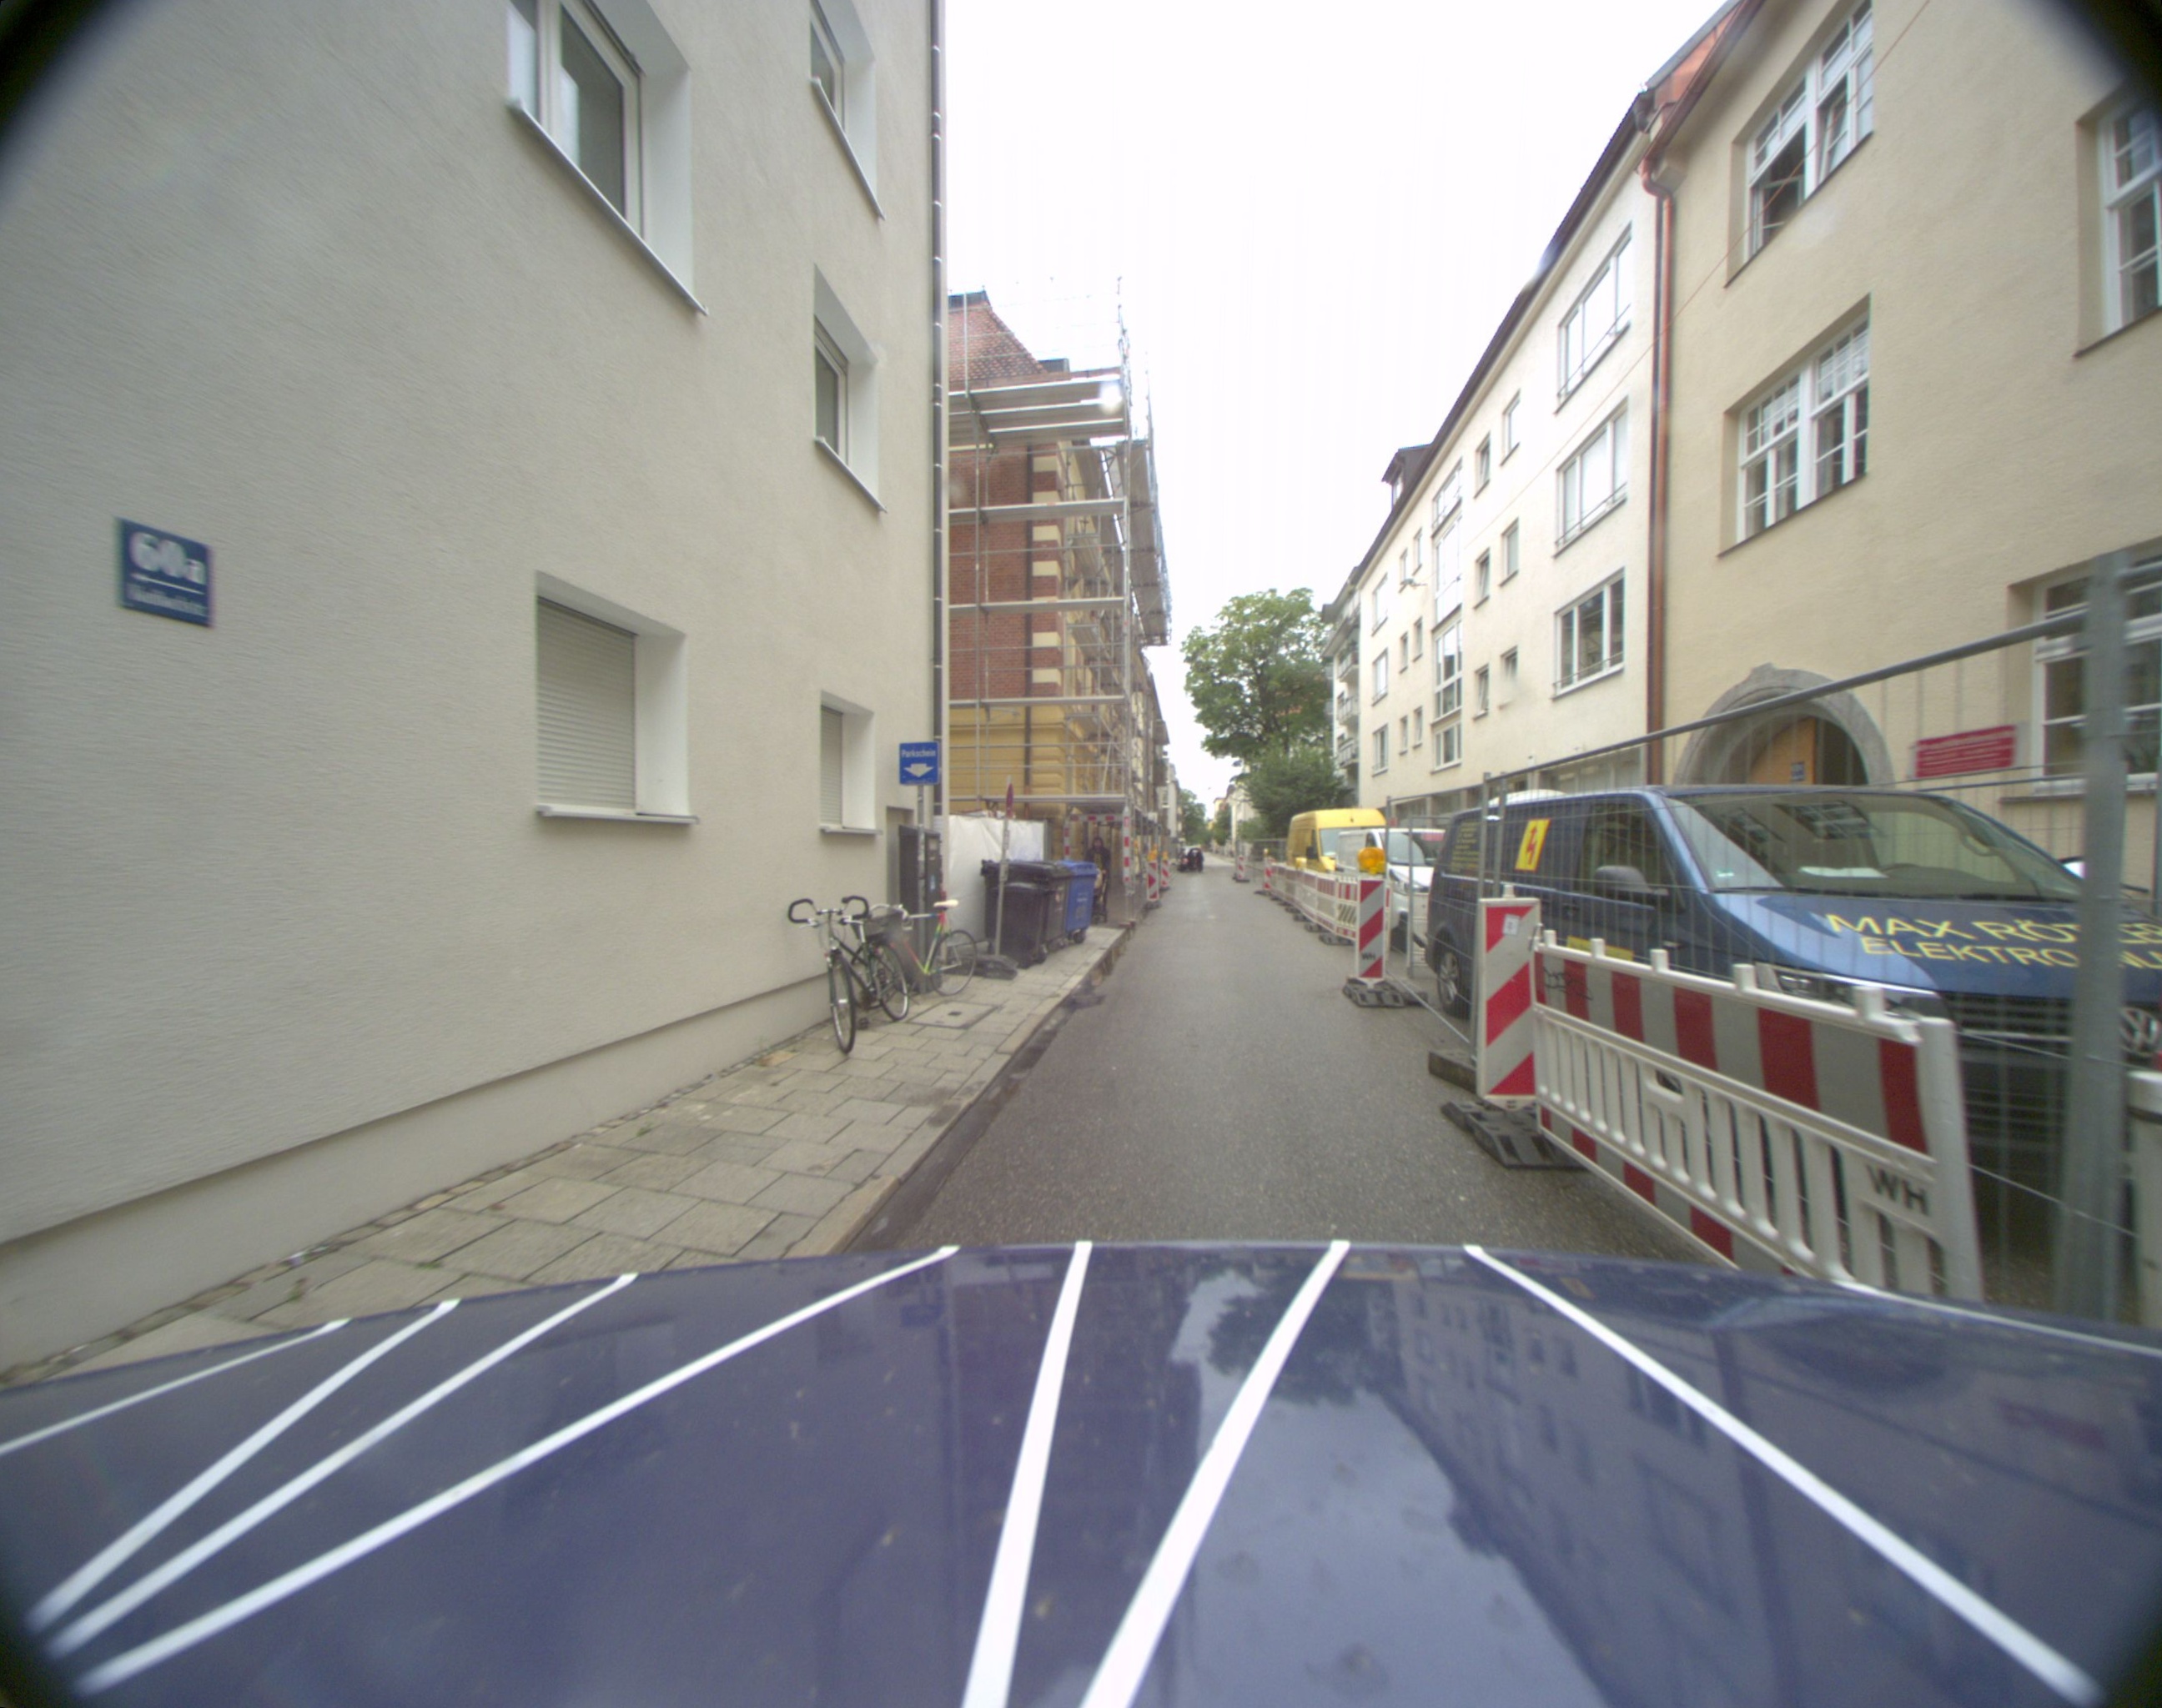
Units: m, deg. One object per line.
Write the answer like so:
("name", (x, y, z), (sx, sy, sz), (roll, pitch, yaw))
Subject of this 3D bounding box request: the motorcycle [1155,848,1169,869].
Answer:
("motorcycle", (6.012, 0.330, 56.304), (0.806, 1.415, 1.933), (5, 2, 9))

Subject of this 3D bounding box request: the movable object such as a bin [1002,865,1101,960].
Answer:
("movable object such as a bin", (-0.441, 0.885, 12.128), (1.087, 1.338, 1.319), (3, 1, 21))

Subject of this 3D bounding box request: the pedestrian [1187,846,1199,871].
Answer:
("pedestrian", (7.488, 0.310, 50.794), (0.659, 1.676, 0.587), (-2, 0, 14))

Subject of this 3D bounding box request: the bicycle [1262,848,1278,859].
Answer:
("bicycle", (21.698, -0.092, 87.171), (1.810, 1.254, 0.432), (0, 1, 7))

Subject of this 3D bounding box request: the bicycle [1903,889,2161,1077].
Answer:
("bicycle", (7.363, 0.890, 5.568), (0.382, 1.181, 2.136), (-1, 0, 1))

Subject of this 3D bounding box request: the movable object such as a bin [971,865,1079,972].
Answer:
("movable object such as a bin", (-0.782, 0.881, 10.927), (1.127, 1.338, 1.172), (4, 2, 16))

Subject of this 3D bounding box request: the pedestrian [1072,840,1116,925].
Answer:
("pedestrian", (0.290, 0.596, 16.420), (0.730, 1.743, 0.988), (4, 2, 8))

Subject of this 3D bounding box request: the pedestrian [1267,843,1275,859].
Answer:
("pedestrian", (21.083, -0.313, 84.243), (0.694, 1.718, 0.842), (-4, 0, 9))

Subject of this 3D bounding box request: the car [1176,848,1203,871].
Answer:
("car", (7.977, 0.365, 55.511), (1.775, 1.515, 4.069), (-2, 0, 11))

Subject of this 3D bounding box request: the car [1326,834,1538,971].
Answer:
("car", (5.728, 0.647, 13.172), (1.921, 1.886, 4.793), (2, 1, 7))

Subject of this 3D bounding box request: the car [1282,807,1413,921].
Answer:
("car", (6.911, 0.189, 20.532), (1.997, 2.564, 6.740), (1, 1, 8))

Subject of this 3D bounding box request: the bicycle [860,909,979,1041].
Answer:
("bicycle", (-1.451, 1.064, 7.048), (0.281, 0.986, 1.436), (4, 2, 21))

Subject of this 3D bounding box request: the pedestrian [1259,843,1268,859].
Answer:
("pedestrian", (20.272, -0.287, 84.377), (0.721, 1.718, 0.842), (-4, 0, 9))

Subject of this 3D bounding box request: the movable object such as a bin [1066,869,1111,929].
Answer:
("movable object such as a bin", (0.170, 0.916, 15.847), (0.730, 1.134, 0.988), (4, 2, 7))

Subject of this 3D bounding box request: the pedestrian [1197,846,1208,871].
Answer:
("pedestrian", (8.396, 0.294, 52.382), (0.660, 1.676, 0.547), (-2, 0, 14))

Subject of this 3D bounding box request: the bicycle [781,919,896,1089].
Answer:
("bicycle", (-1.784, 1.060, 5.741), (0.405, 0.986, 1.329), (3, 1, 0))

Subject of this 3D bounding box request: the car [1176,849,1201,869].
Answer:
("car", (8.634, 0.343, 60.715), (1.771, 1.453, 4.383), (-2, 0, 10))

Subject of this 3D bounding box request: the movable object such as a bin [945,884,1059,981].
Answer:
("movable object such as a bin", (-1.024, 1.002, 9.982), (1.212, 1.089, 0.790), (4, 2, 16))

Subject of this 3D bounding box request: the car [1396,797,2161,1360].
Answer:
("car", (3.874, 0.732, 5.308), (1.730, 1.886, 5.511), (2, 1, 8))
